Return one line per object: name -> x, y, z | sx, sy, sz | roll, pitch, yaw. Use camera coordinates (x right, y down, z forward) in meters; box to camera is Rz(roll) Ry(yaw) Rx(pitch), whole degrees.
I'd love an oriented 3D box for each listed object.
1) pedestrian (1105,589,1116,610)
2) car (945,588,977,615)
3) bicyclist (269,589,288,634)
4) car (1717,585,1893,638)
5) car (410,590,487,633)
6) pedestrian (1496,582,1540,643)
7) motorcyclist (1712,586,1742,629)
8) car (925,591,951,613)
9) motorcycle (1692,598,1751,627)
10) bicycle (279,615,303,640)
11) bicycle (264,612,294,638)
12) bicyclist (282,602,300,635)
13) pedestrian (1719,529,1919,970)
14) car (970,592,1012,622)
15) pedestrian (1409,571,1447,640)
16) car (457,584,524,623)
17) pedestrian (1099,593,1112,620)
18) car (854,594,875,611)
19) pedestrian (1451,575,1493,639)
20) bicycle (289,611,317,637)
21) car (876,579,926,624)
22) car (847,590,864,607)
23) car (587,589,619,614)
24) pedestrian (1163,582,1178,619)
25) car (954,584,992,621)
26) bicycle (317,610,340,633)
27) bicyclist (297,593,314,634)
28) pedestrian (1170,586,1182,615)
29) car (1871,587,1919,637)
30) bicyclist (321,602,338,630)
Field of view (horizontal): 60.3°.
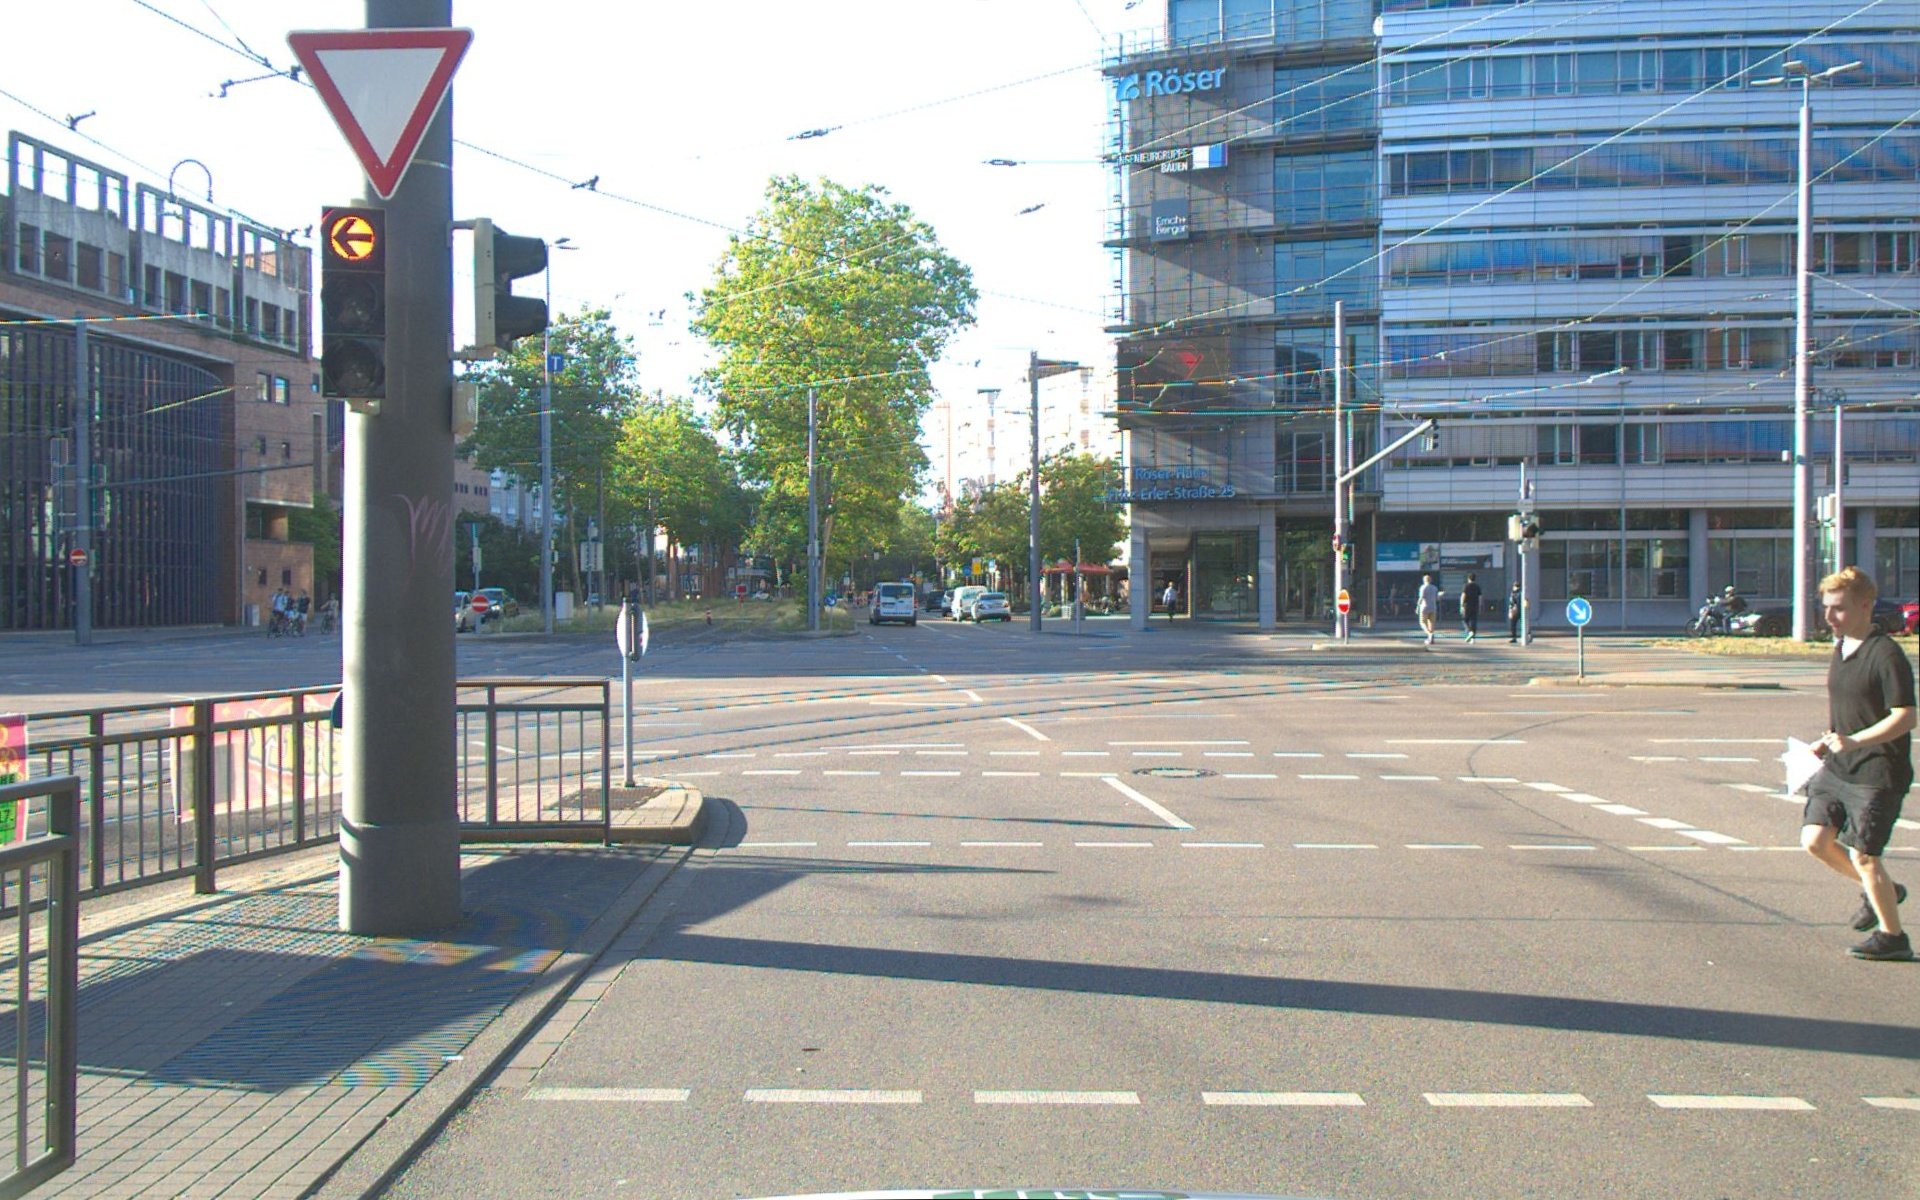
pedestrian -> 9.711, -0.017, 106.654 | 0.565, 1.311, 0.910 | -1, 0, -1
car -> 0.034, 0.071, 105.203 | 1.953, 1.646, 3.999 | -1, 0, -1
bicyclist -> -26.841, 0.442, 65.145 | 0.525, 1.761, 0.581 | -1, 0, -1
car -> 24.044, 0.327, 47.177 | 4.070, 1.423, 1.786 | -1, 0, 4
car -> -20.668, 0.446, 67.027 | 1.953, 1.668, 3.999 | -1, 0, -2
pedestrian -> 14.739, 0.317, 43.713 | 0.928, 1.591, 0.897 | -1, 0, 6
motorcyclist -> 23.092, 0.228, 49.808 | 0.697, 1.298, 0.460 | -1, 0, 3
car -> -1.683, 0.131, 126.626 | 1.953, 1.646, 3.999 | -1, 0, -1
motorcycle -> 22.922, 0.373, 49.793 | 1.535, 0.824, 0.467 | -1, 0, 3
bicycle -> -27.637, 1.119, 68.290 | 0.458, 0.980, 1.320 | -1, 0, -1
bicycle -> -26.832, 0.969, 65.144 | 0.531, 0.980, 1.586 | -1, 0, -1
bicyclist -> -27.634, 0.758, 68.322 | 0.495, 1.327, 0.581 | -1, 0, -1
pedestrian -> 3.987, 0.605, 7.131 | 1.068, 1.779, 0.741 | 0, 0, -8
car -> 1.535, 0.337, 82.781 | 1.953, 1.400, 3.999 | -1, 0, -1
pedestrian -> 12.544, 0.151, 44.345 | 0.845, 1.820, 0.872 | -1, 0, 6
car -> -21.122, 0.146, 74.586 | 1.953, 1.668, 3.999 | -1, 0, -2
pedestrian -> 9.233, 0.401, 105.060 | 0.729, 1.744, 0.612 | -1, 0, -1
car -> -8.470, 0.191, 146.760 | 1.762, 1.467, 3.998 | 1, 0, -3
pedestrian -> 13.877, 0.183, 44.887 | 0.893, 1.714, 1.036 | -1, 0, 6
bicycle -> -25.957, 0.951, 65.352 | 0.463, 0.980, 1.575 | -1, 0, -1
car -> -2.577, 0.041, 73.324 | 1.920, 1.881, 5.330 | -1, 0, 1
car -> -12.886, -0.237, 204.558 | 1.953, 2.049, 3.999 | -1, 0, -1
car -> -29.101, 0.105, 134.819 | 1.954, 2.049, 3.997 | -1, 0, -3
pedestrian -> 8.774, 0.016, 68.906 | 0.599, 1.534, 0.579 | -1, 0, 5
car -> 0.686, 0.117, 89.566 | 1.953, 1.892, 3.999 | -1, 0, -1
bicycle -> -27.109, 0.916, 71.022 | 0.442, 0.980, 1.347 | -1, 0, -1
bicyclist -> -25.870, 0.527, 65.391 | 0.449, 1.631, 0.581 | -1, 0, -1
pedestrian -> 11.550, 0.034, 88.489 | 0.599, 1.534, 0.579 | -1, 0, 7
car -> 29.749, 0.301, 49.547 | 3.903, 1.418, 1.786 | -2, 0, 4
bicyclist -> -27.081, 0.694, 71.087 | 0.495, 1.199, 0.581 | -1, 0, -1
